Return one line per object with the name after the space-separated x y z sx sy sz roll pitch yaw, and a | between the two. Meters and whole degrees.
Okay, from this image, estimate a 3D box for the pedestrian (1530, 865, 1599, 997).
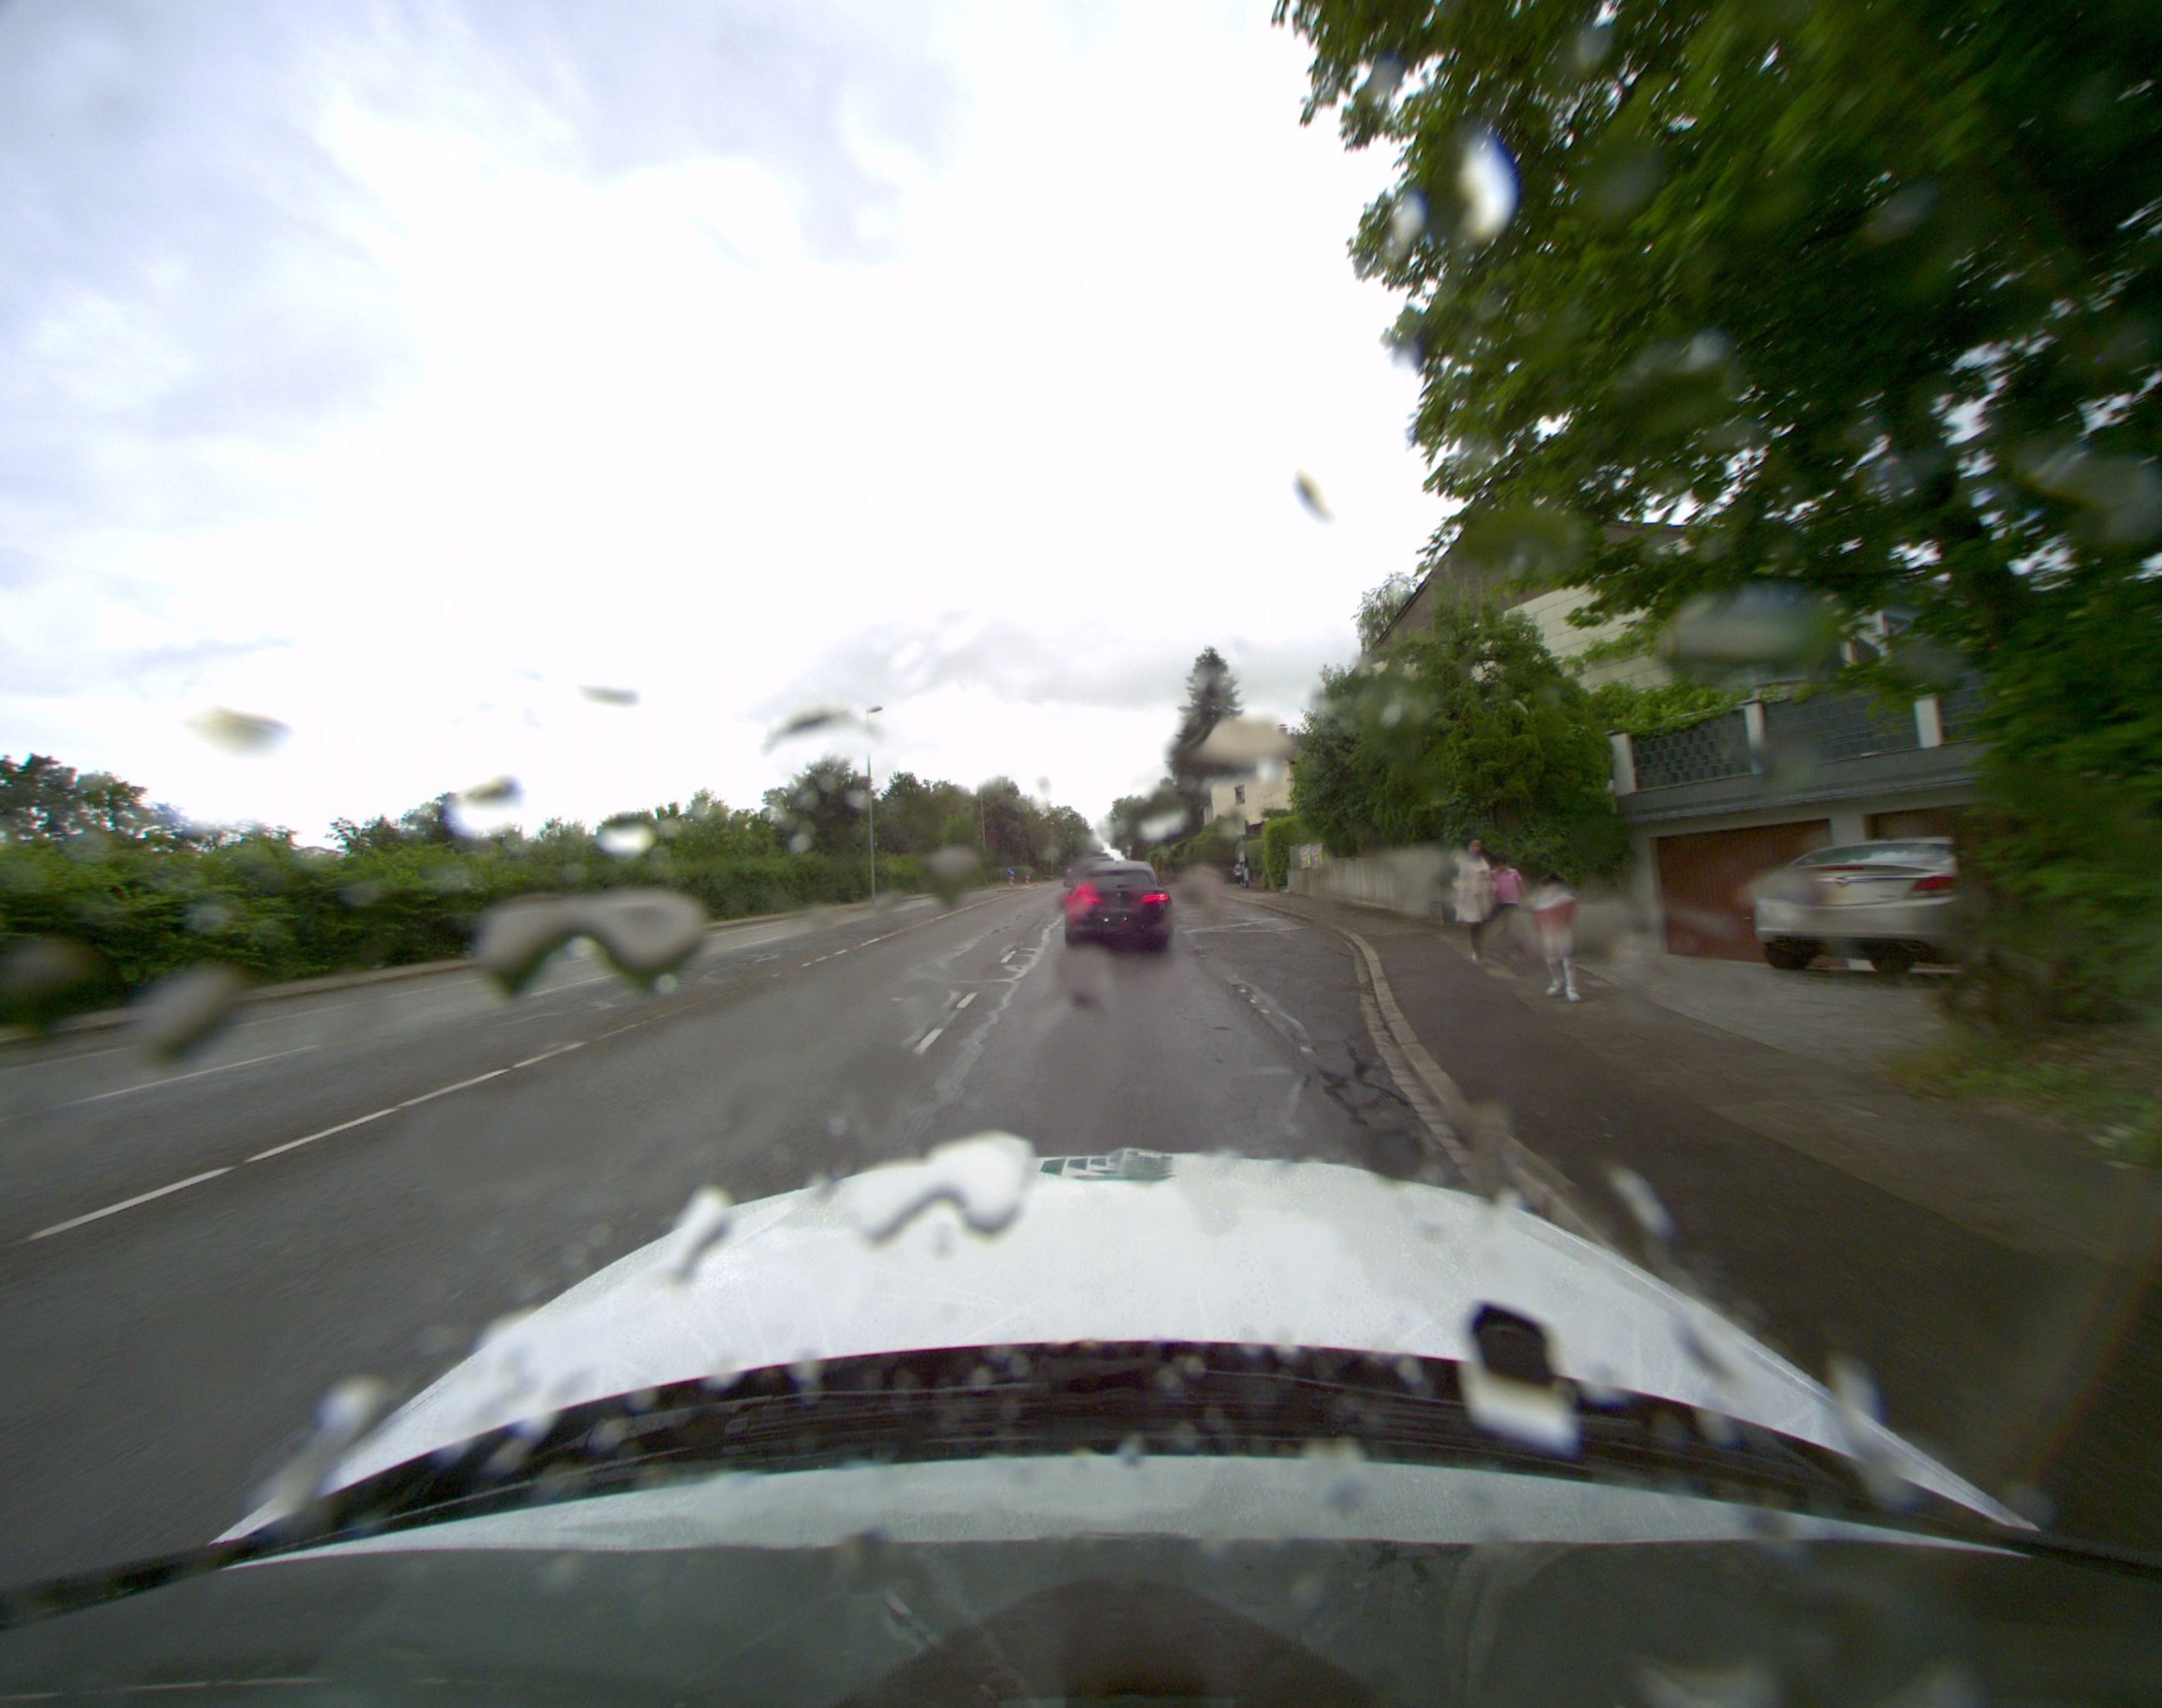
4.367 0.682 7.374 0.365 1.146 0.367 -3 -1 9 | pedestrian

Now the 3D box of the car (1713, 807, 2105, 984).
9.060 0.567 8.850 4.614 1.421 1.773 6 -6 -28 | car

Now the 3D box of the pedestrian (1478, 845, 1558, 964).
5.201 0.589 9.731 0.598 1.355 0.648 -3 -1 9 | pedestrian

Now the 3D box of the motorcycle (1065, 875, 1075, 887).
-1.054 2.623 79.296 0.873 1.124 2.741 -1 -2 2 | motorcycle

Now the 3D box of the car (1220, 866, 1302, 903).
9.369 1.615 42.332 3.706 1.299 1.761 10 -7 -18 | car

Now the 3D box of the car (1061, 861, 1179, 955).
0.721 0.919 15.126 1.889 1.489 4.002 -1 -2 2 | car

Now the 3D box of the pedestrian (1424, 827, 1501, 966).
4.592 0.502 9.833 0.606 1.593 0.648 -3 -1 9 | pedestrian

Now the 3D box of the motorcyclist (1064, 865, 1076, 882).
-1.061 1.911 79.386 1.036 1.568 0.855 -1 -2 1 | motorcyclist

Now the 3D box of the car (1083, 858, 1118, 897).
1.046 1.224 42.514 1.623 1.833 4.001 -4 -1 1 | car

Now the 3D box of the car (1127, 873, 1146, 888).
6.115 2.887 89.390 1.927 1.442 4.412 -3 -2 4 | car
